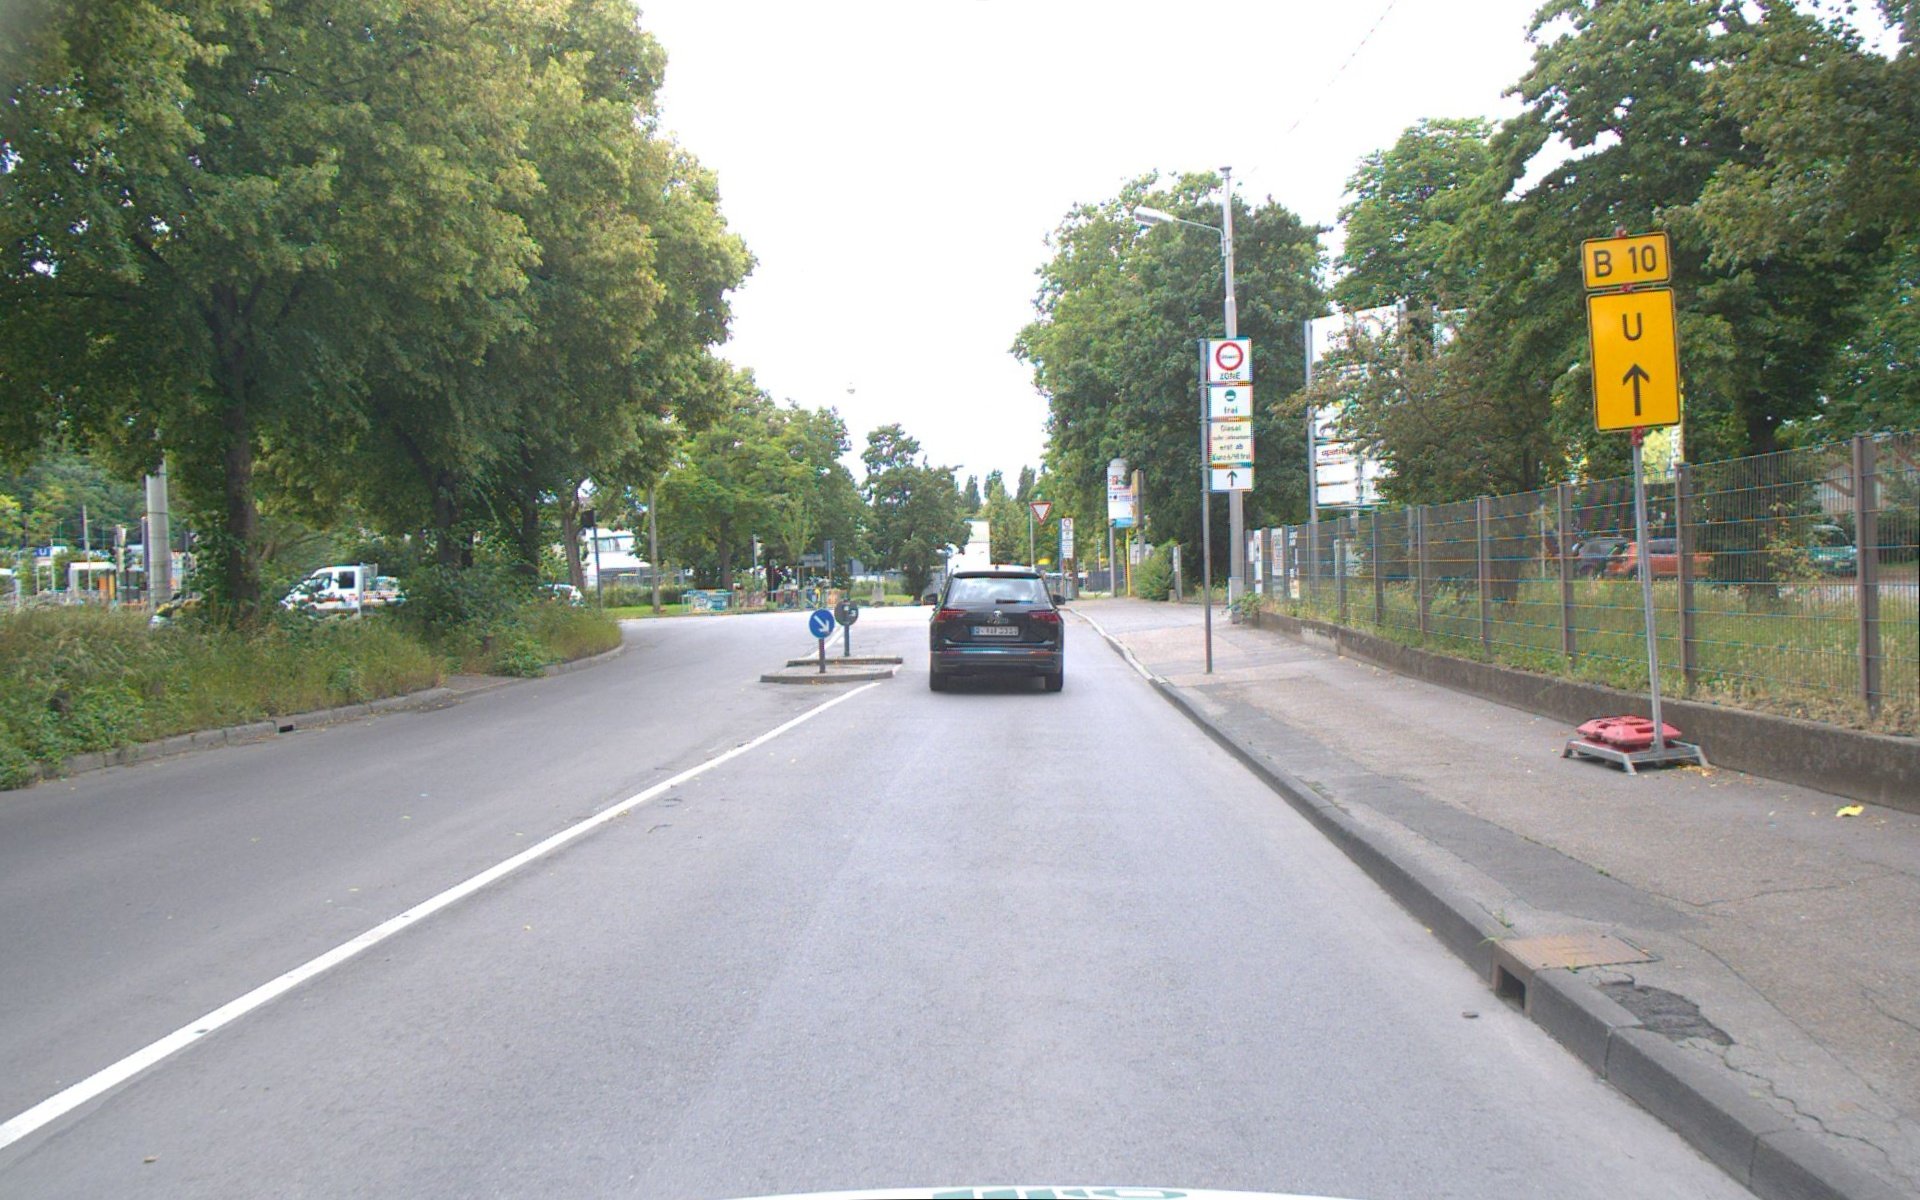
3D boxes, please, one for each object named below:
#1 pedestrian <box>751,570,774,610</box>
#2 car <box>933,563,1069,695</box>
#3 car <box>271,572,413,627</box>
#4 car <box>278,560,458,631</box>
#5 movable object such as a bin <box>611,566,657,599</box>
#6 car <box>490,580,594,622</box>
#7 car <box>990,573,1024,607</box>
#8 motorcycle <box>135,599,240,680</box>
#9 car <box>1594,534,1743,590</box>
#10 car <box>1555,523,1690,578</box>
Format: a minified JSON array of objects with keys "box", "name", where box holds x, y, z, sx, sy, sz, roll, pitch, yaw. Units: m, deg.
[{"box":[-9.036,-0.460,75.703,0.730,1.772,0.723,-1,1,42],"name":"pedestrian"},{"box":[0.518,0.326,22.753,1.703,1.646,3.641,1,1,0],"name":"car"},{"box":[-24.856,-0.027,66.561,4.873,1.975,2.050,-2,1,6],"name":"car"},{"box":[-22.497,-0.179,63.051,5.953,2.429,2.392,-2,1,-5],"name":"car"},{"box":[-21.672,-1.179,110.109,1.953,2.048,2.399,-2,1,22],"name":"movable object such as a bin"},{"box":[-16.137,0.023,63.815,3.563,1.434,1.726,-3,1,-27],"name":"car"},{"box":[2.383,-0.503,83.367,1.624,1.601,3.830,-3,1,2],"name":"car"},{"box":[-12.399,0.604,26.623,0.554,1.188,2.037,-2,1,4],"name":"motorcycle"},{"box":[21.927,-1.178,51.312,3.863,1.561,1.831,-2,1,6],"name":"car"},{"box":[22.377,-1.664,56.003,3.863,1.675,1.831,-2,1,6],"name":"car"}]
